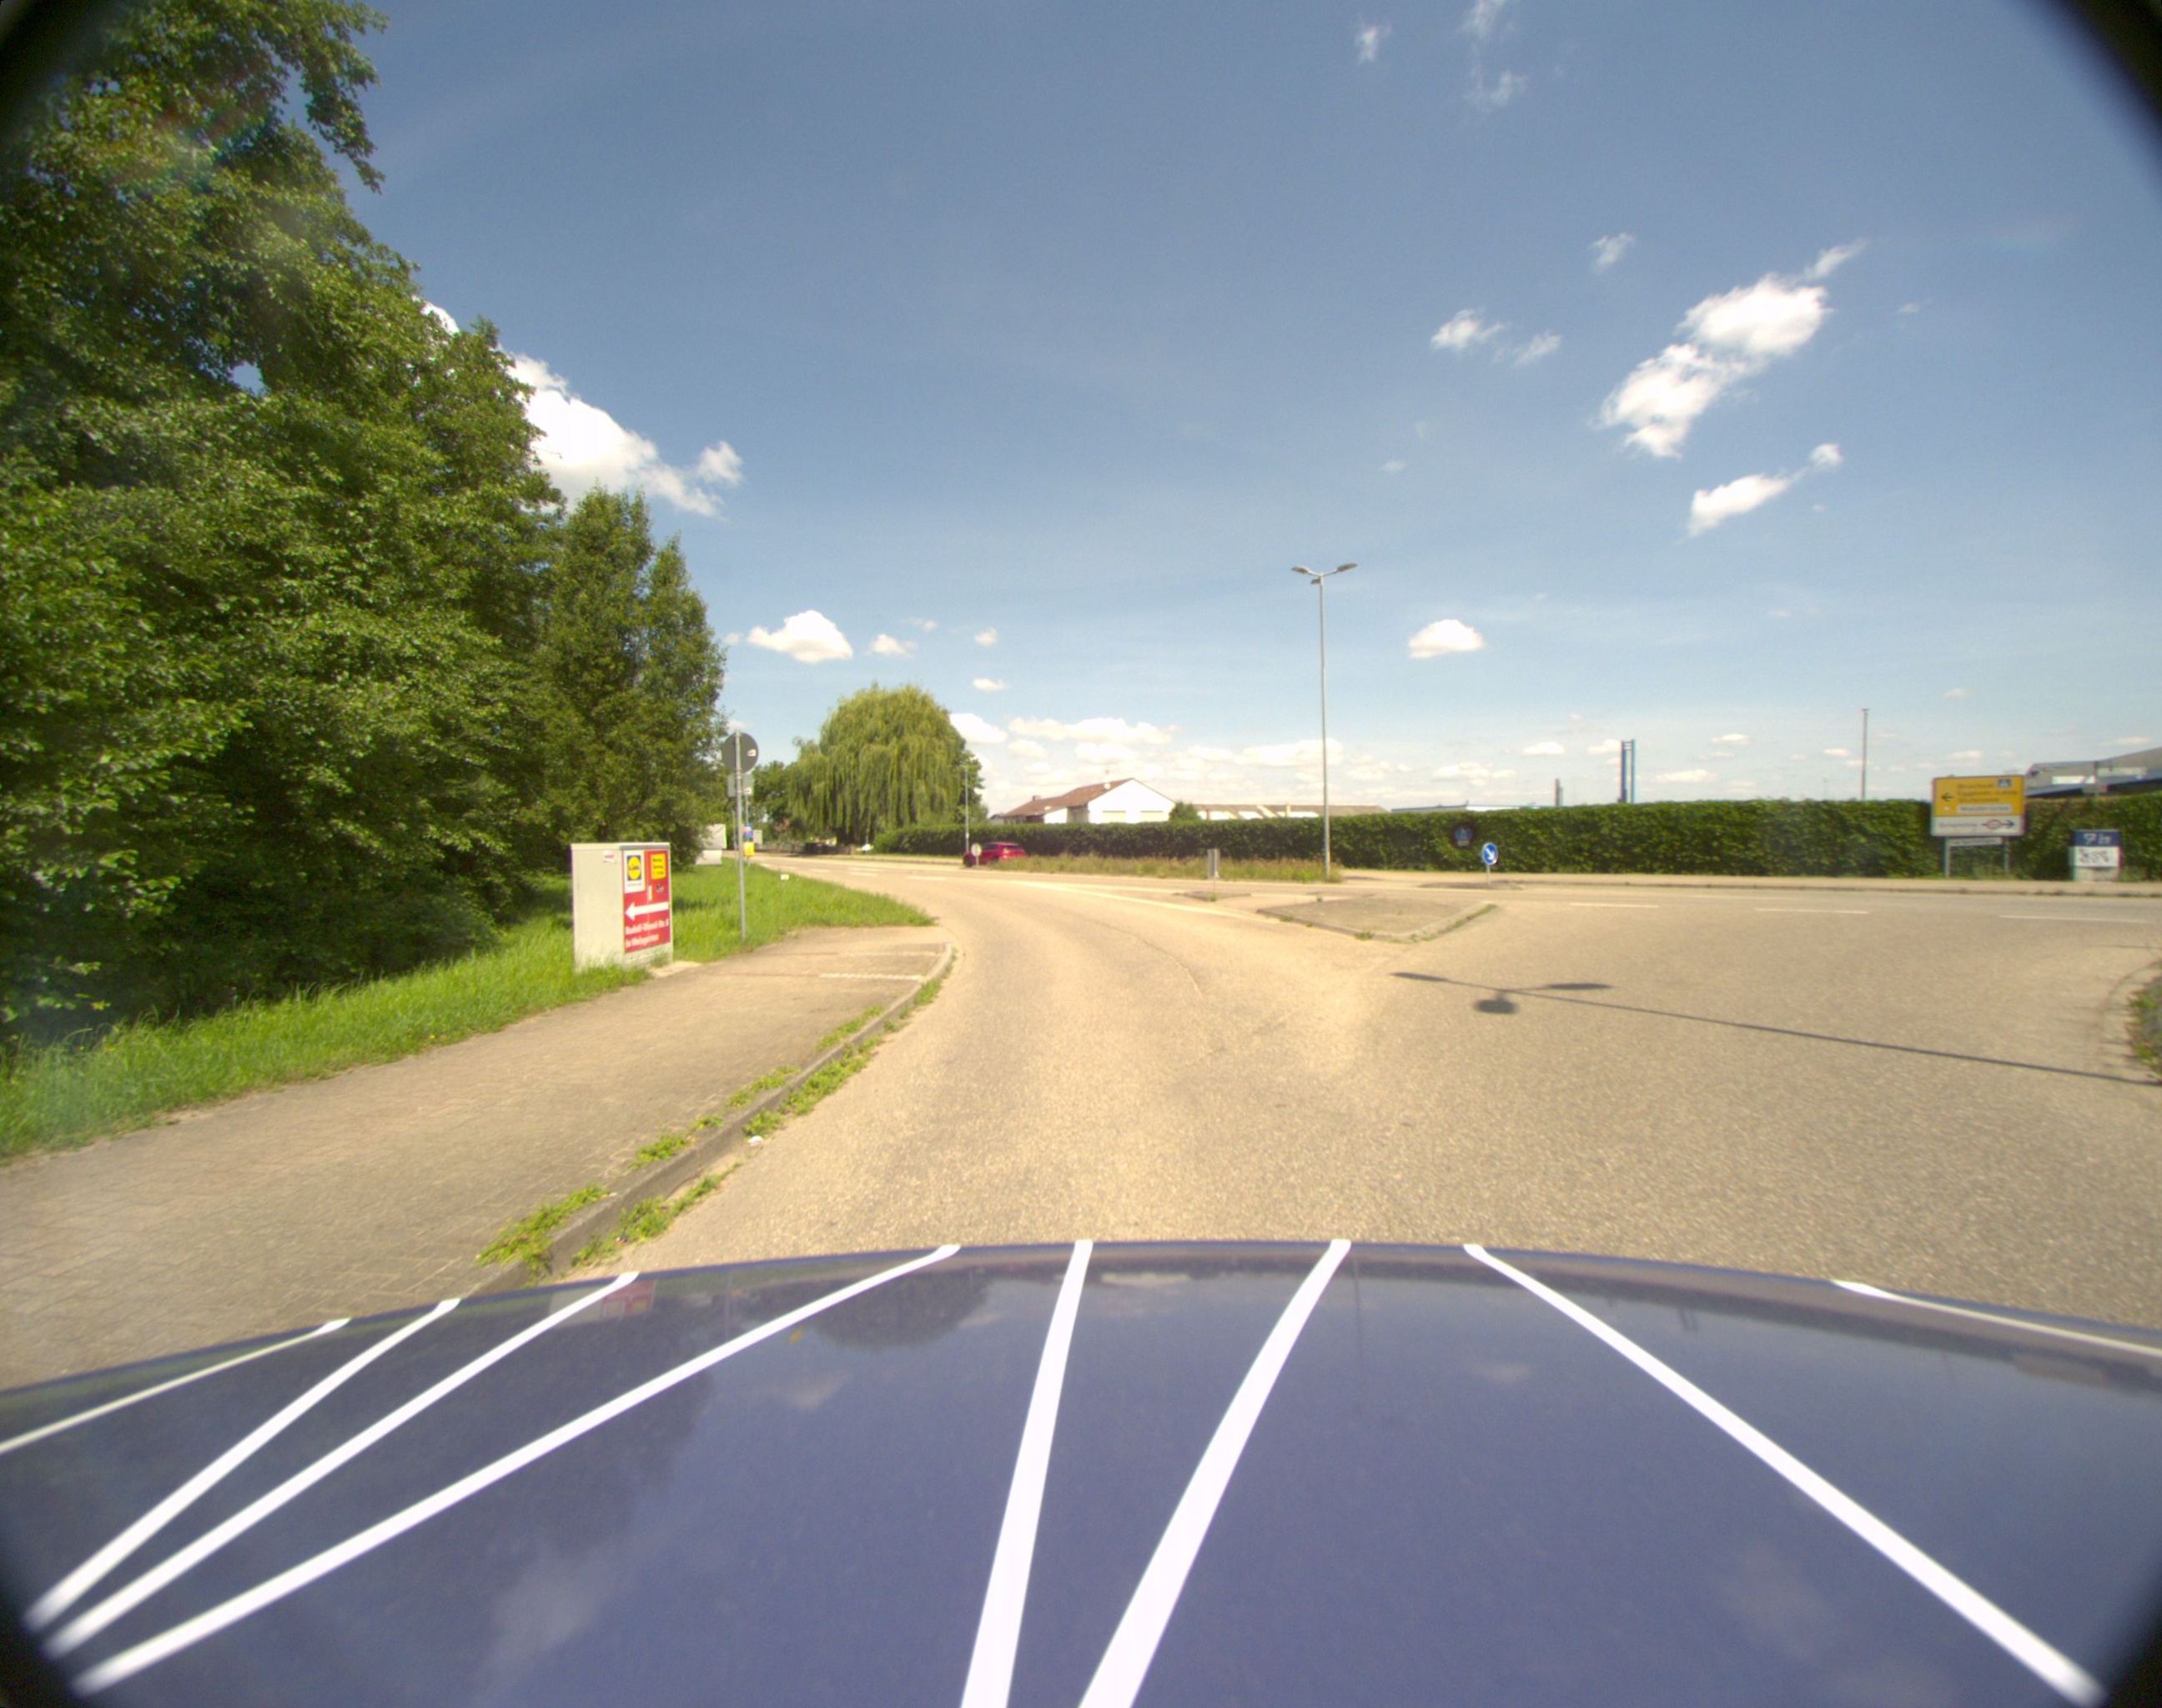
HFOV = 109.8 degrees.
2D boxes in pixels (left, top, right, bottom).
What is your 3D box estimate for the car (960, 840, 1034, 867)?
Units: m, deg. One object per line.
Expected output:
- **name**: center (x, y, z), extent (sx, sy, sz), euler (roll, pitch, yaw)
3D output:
- **car**: center (-4.774, -0.068, 42.794), extent (1.890, 1.455, 4.374), euler (-1, 1, -43)
